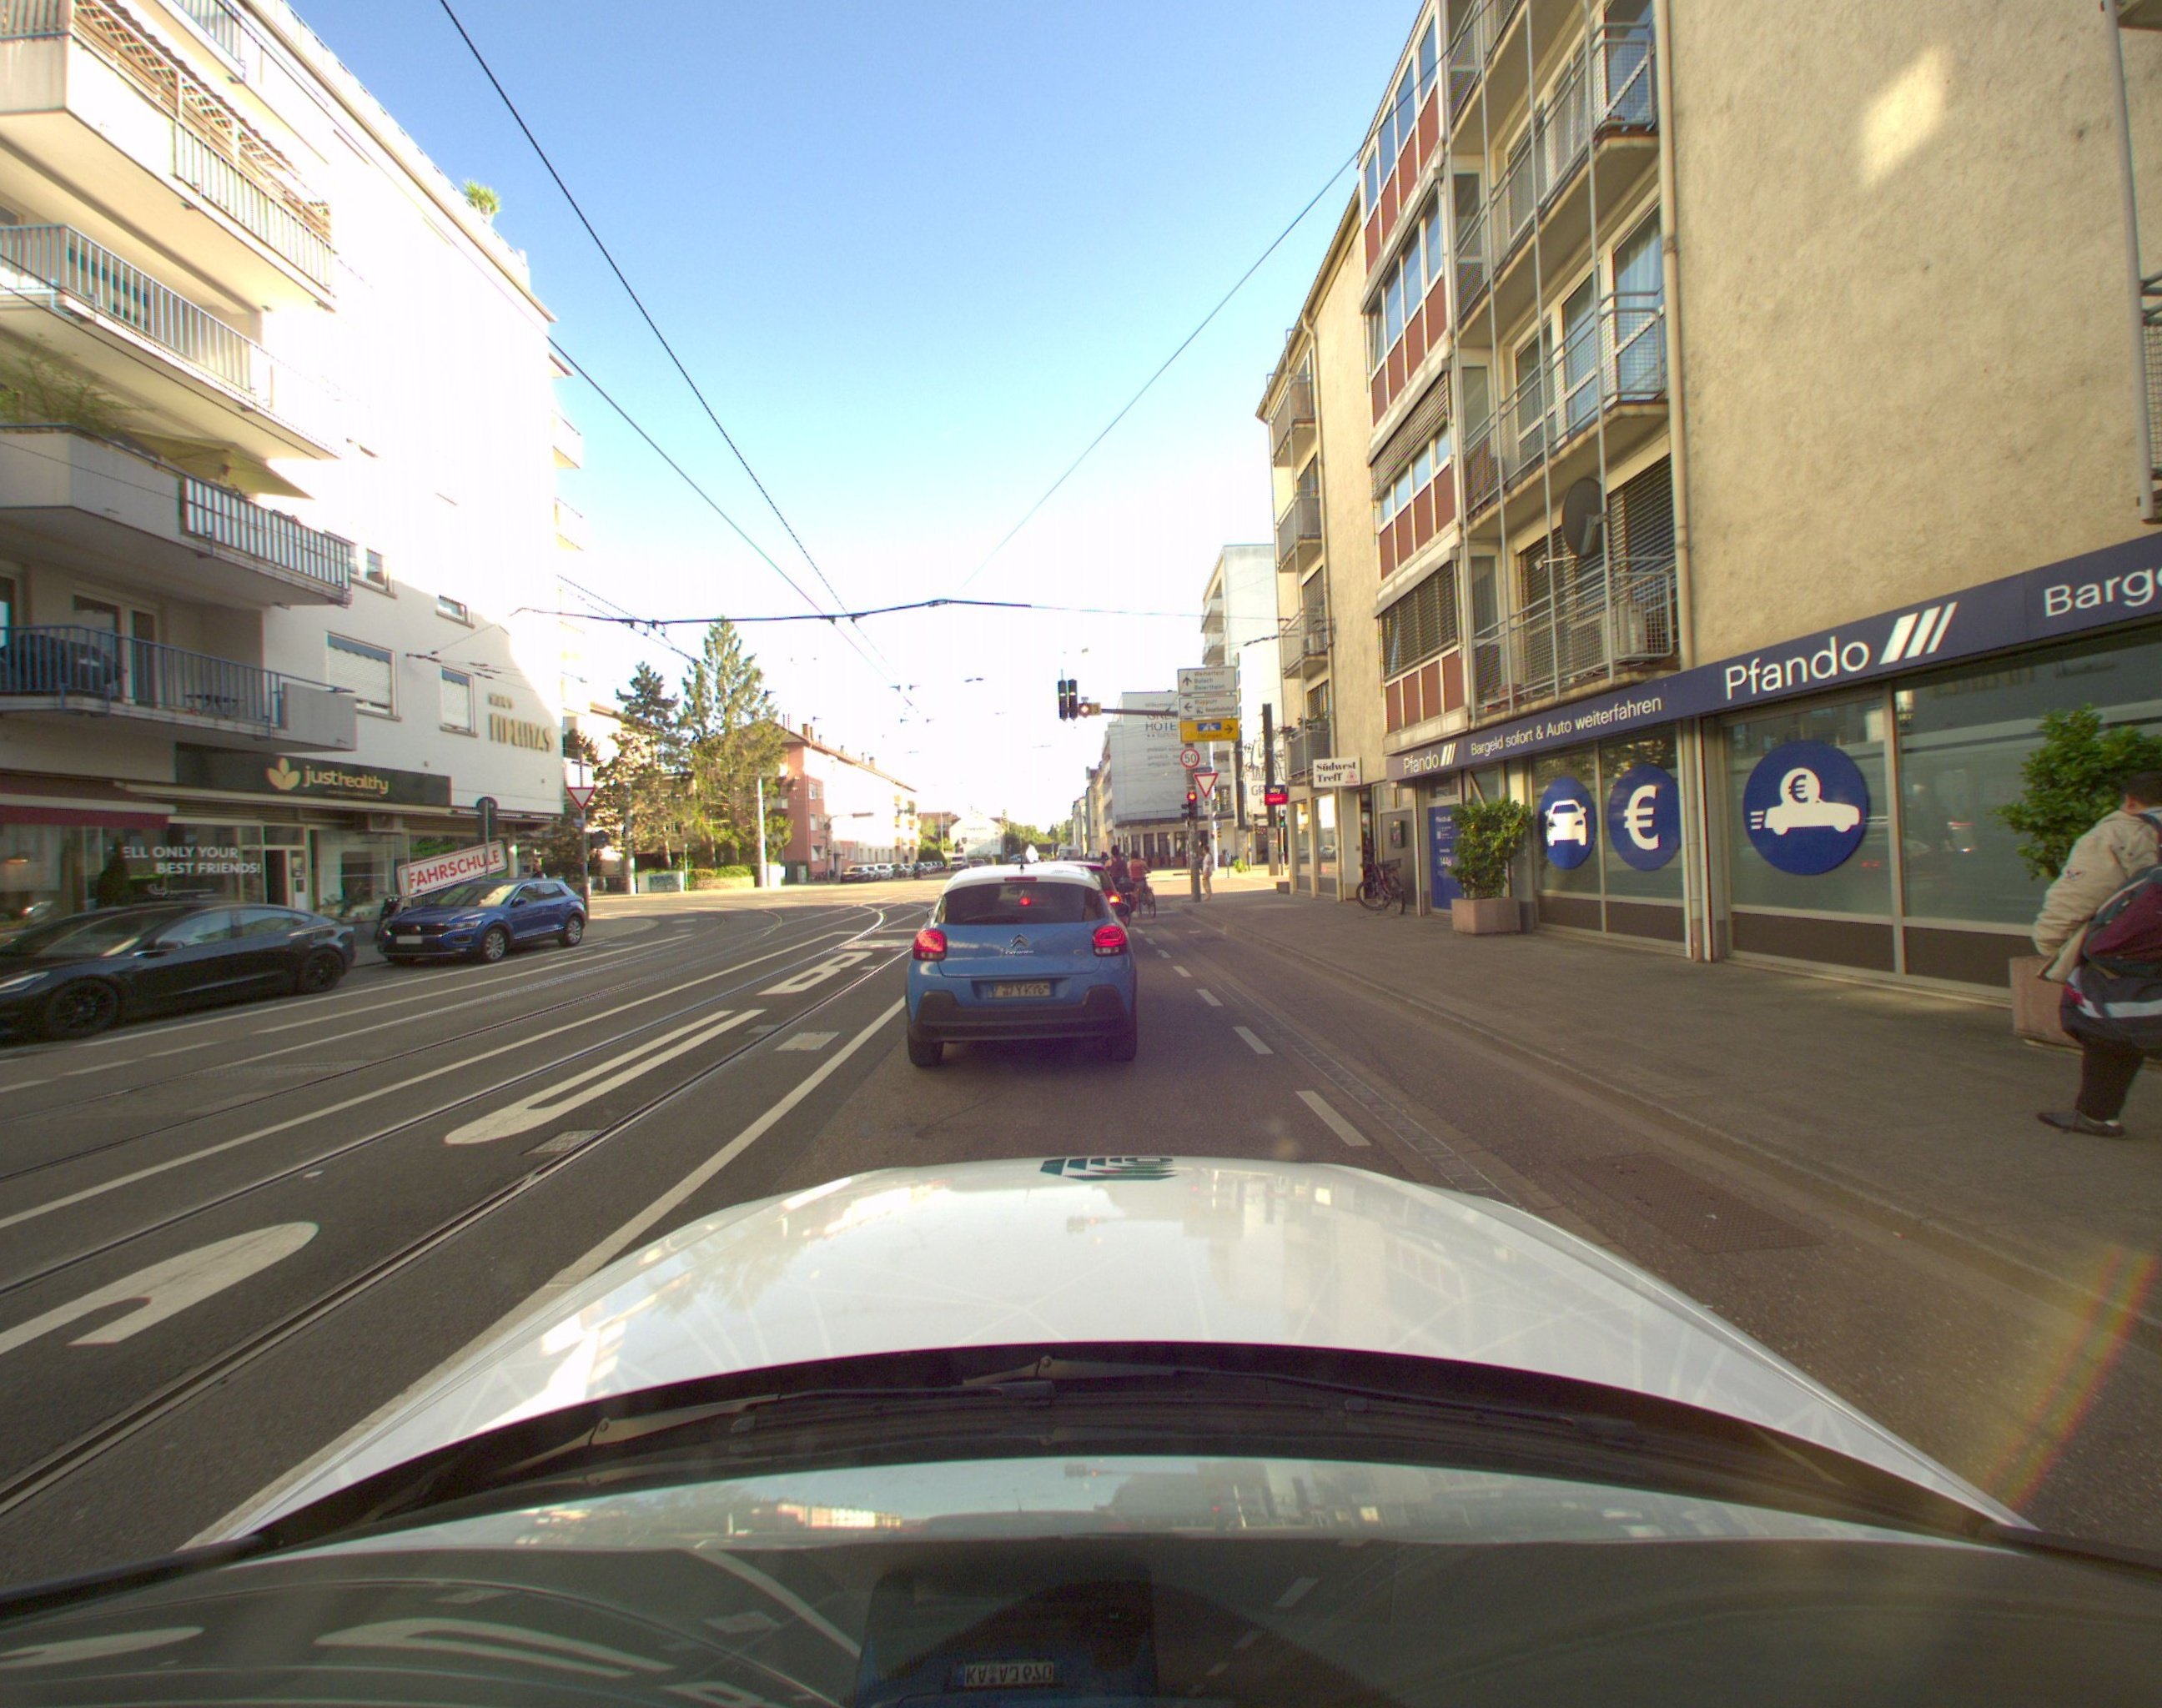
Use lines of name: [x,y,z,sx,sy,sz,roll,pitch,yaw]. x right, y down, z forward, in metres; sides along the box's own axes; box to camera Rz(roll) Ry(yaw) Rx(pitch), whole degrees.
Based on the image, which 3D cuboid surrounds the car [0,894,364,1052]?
car: [-11.986,1.329,10.414,1.720,1.403,4.486,0,0,-2]

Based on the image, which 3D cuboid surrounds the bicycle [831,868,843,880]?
bicycle: [-22.715,1.858,75.795,0.608,1.082,1.908,-2,0,-4]

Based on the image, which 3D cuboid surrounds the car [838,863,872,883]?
car: [-19.290,1.599,69.612,1.947,1.519,3.995,-2,0,-4]

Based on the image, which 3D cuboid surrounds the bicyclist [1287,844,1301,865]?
bicyclist: [14.815,0.061,56.563,0.720,1.434,0.609,-3,0,39]

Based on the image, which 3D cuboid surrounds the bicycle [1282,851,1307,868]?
bicycle: [14.829,0.366,56.559,1.474,1.091,0.609,-3,0,39]

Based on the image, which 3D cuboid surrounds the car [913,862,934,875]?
car: [-20.095,1.799,104.031,1.947,1.519,3.995,-2,0,-4]

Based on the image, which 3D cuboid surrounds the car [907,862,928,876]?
car: [-19.849,1.784,99.018,1.947,1.519,3.995,-2,0,-4]

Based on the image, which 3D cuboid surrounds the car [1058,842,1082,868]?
car: [-1.037,0.088,73.439,2.074,2.269,5.647,-1,0,-2]

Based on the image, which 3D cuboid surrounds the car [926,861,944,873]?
car: [-20.722,1.851,115.676,1.947,1.519,3.995,-2,0,-4]

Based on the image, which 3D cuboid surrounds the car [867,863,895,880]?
car: [-19.558,1.683,79.848,1.947,1.519,3.995,-2,0,-4]

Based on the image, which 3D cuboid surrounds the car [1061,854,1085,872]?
car: [-0.715,0.743,67.977,1.783,1.359,3.909,-2,0,-4]

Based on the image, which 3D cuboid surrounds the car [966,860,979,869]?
car: [-19.333,1.816,145.237,1.947,1.519,3.995,-2,0,-4]

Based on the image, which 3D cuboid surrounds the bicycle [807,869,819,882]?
bicycle: [-22.380,1.791,68.070,0.640,1.082,1.905,-2,0,-9]

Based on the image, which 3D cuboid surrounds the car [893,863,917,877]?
car: [-19.979,1.789,92.588,1.947,1.519,3.995,-2,0,-4]

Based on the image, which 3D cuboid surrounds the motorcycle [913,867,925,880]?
motorcycle: [-13.483,1.596,67.753,0.751,0.976,2.092,-2,0,-7]

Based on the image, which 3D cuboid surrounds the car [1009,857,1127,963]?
car: [-0.228,0.810,13.699,1.675,1.462,3.997,-1,0,-2]

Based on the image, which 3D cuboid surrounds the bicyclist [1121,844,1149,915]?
bicyclist: [1.367,0.633,20.685,0.598,1.746,1.084,-2,0,2]

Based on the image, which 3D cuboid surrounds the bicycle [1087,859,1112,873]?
bicycle: [1.526,0.962,67.233,1.901,1.064,0.641,-2,0,-6]

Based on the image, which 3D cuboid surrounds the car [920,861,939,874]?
car: [-20.295,1.772,109.320,1.947,1.519,3.995,-2,0,-4]

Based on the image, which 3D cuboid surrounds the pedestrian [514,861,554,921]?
pedestrian: [-17.331,1.169,25.816,0.761,1.834,0.725,-2,0,28]

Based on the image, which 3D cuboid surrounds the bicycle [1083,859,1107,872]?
bicycle: [1.161,0.955,68.435,1.901,1.064,0.641,-2,0,-6]

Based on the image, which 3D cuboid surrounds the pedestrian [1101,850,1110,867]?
pedestrian: [2.104,0.398,70.371,0.520,1.420,0.550,-3,0,22]

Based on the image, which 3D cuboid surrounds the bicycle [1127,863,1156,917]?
bicycle: [1.531,0.887,20.718,0.611,1.264,1.911,-2,0,2]

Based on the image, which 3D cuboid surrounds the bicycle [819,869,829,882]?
bicycle: [-21.595,1.791,68.465,0.537,1.082,1.905,-2,0,-9]

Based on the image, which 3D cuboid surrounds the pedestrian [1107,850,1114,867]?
pedestrian: [2.524,0.381,70.109,0.467,1.420,0.524,-2,0,-11]

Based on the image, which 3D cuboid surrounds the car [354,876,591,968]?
car: [-11.880,1.242,16.317,1.720,1.505,4.113,0,0,-2]

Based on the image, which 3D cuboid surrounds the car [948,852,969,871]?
car: [-18.123,1.103,120.568,2.489,2.712,5.828,-2,0,-5]

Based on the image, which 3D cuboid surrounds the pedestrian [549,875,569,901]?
pedestrian: [-35.734,2.347,55.748,0.805,1.702,0.681,-2,0,1]

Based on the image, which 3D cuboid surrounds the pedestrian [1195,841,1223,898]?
pedestrian: [3.838,0.454,24.407,0.747,1.635,0.742,-2,0,7]

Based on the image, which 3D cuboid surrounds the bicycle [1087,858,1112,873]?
bicycle: [1.517,0.932,65.927,1.901,1.064,0.641,-2,0,-6]

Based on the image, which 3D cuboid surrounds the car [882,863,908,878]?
car: [-19.728,1.738,86.521,1.947,1.519,3.995,-2,0,-4]

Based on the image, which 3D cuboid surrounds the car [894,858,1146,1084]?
car: [-0.454,0.790,7.491,1.675,1.462,3.997,-1,0,-2]

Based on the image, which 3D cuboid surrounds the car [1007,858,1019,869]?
car: [-14.260,1.981,171.403,2.333,2.039,5.044,-2,0,-4]

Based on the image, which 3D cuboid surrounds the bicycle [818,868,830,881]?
bicycle: [-23.049,1.840,73.099,0.536,1.082,1.908,-2,0,-4]

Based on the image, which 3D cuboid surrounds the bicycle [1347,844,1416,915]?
bicycle: [5.757,0.458,15.731,0.637,1.264,1.911,-2,0,2]

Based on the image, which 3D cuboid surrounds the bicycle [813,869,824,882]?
bicycle: [-21.973,1.792,68.180,0.537,1.082,1.905,-2,0,-9]

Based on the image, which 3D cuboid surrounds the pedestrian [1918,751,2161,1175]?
pedestrian: [4.390,0.374,3.370,0.871,1.571,0.868,-4,0,-1]

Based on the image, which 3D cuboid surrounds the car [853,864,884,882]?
car: [-19.570,1.716,75.236,1.947,1.519,4.040,-2,0,-4]

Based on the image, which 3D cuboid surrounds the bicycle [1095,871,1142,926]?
bicycle: [0.809,0.970,18.213,0.617,1.103,1.879,-2,0,-10]

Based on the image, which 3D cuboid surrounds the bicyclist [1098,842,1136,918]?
bicyclist: [0.796,0.566,18.196,0.617,1.630,0.757,-2,0,-11]

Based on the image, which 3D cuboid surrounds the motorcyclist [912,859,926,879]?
motorcyclist: [-13.474,1.269,67.686,0.990,1.631,0.737,-2,0,-7]

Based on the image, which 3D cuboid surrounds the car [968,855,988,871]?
car: [-11.597,0.983,91.945,2.002,1.627,5.044,-2,0,-5]
